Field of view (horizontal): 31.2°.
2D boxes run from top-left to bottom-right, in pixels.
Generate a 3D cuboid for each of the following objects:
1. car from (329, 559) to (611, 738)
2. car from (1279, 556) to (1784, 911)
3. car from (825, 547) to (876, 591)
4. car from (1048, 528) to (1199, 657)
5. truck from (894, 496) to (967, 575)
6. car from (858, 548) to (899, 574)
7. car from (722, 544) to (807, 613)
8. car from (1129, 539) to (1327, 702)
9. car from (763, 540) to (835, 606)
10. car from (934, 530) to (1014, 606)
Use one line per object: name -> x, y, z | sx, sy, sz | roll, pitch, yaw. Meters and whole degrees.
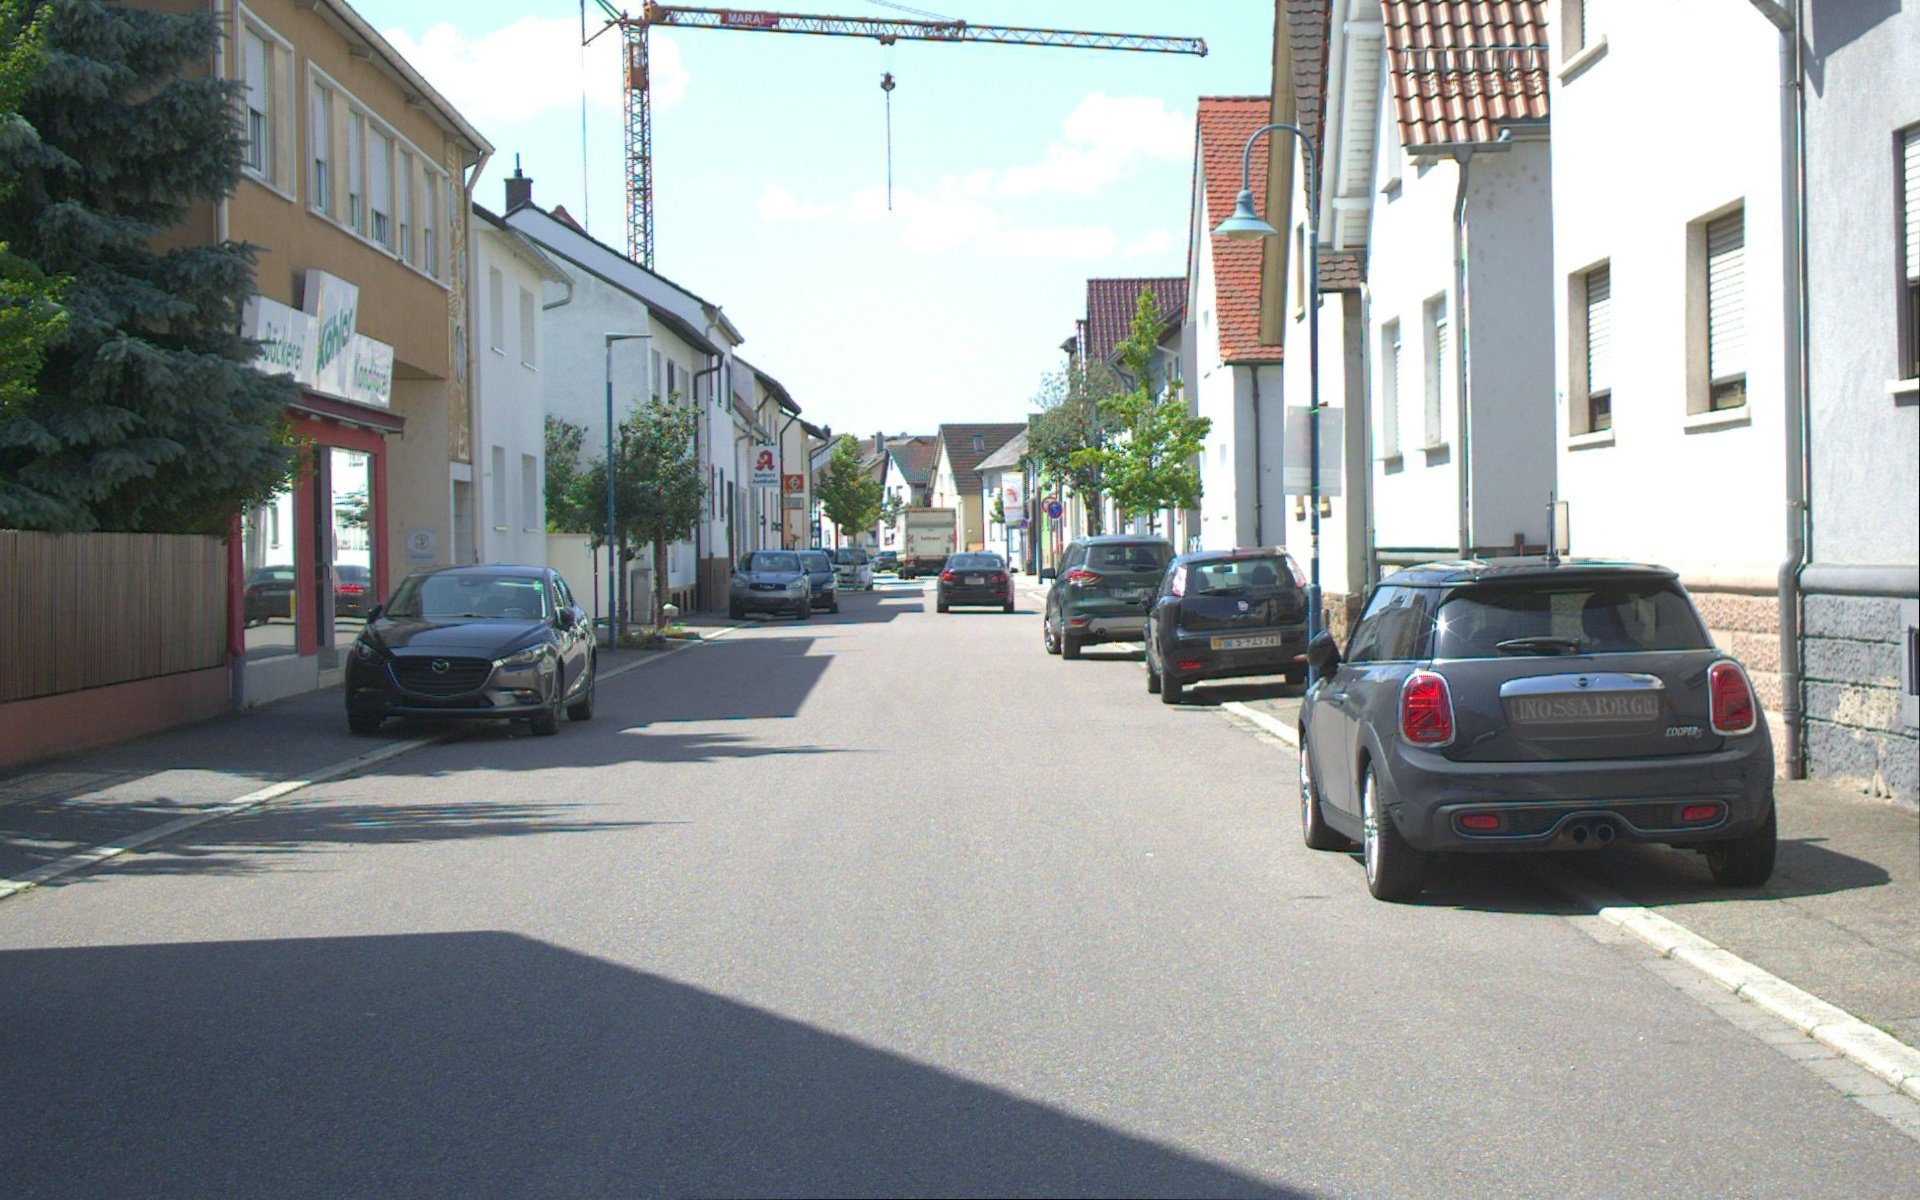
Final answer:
car -> -4.295, 0.378, 30.783 | 1.768, 1.455, 4.436 | -1, 1, 1
car -> 2.505, 0.522, 15.881 | 1.688, 1.417, 3.657 | -1, 1, 0
car -> -3.992, -1.139, 125.988 | 1.723, 1.550, 4.172 | 1, 1, 0
car -> 2.246, -0.135, 48.145 | 1.728, 1.711, 4.276 | -1, 1, -2
truck -> -1.612, -3.315, 179.211 | 3.378, 3.852, 13.927 | -2, 1, -2
car -> -5.754, -2.723, 242.595 | 1.820, 1.747, 4.230 | -2, 1, -16
car -> -4.522, -0.528, 80.063 | 1.758, 1.519, 4.289 | -1, 1, -1
car -> 2.711, 0.168, 35.471 | 1.617, 1.490, 3.972 | -3, 1, 0
car -> -4.042, -0.703, 86.739 | 1.653, 1.603, 4.061 | -1, 1, -1
car -> 0.304, -0.774, 83.108 | 1.782, 1.747, 4.000 | -2, 1, -1
